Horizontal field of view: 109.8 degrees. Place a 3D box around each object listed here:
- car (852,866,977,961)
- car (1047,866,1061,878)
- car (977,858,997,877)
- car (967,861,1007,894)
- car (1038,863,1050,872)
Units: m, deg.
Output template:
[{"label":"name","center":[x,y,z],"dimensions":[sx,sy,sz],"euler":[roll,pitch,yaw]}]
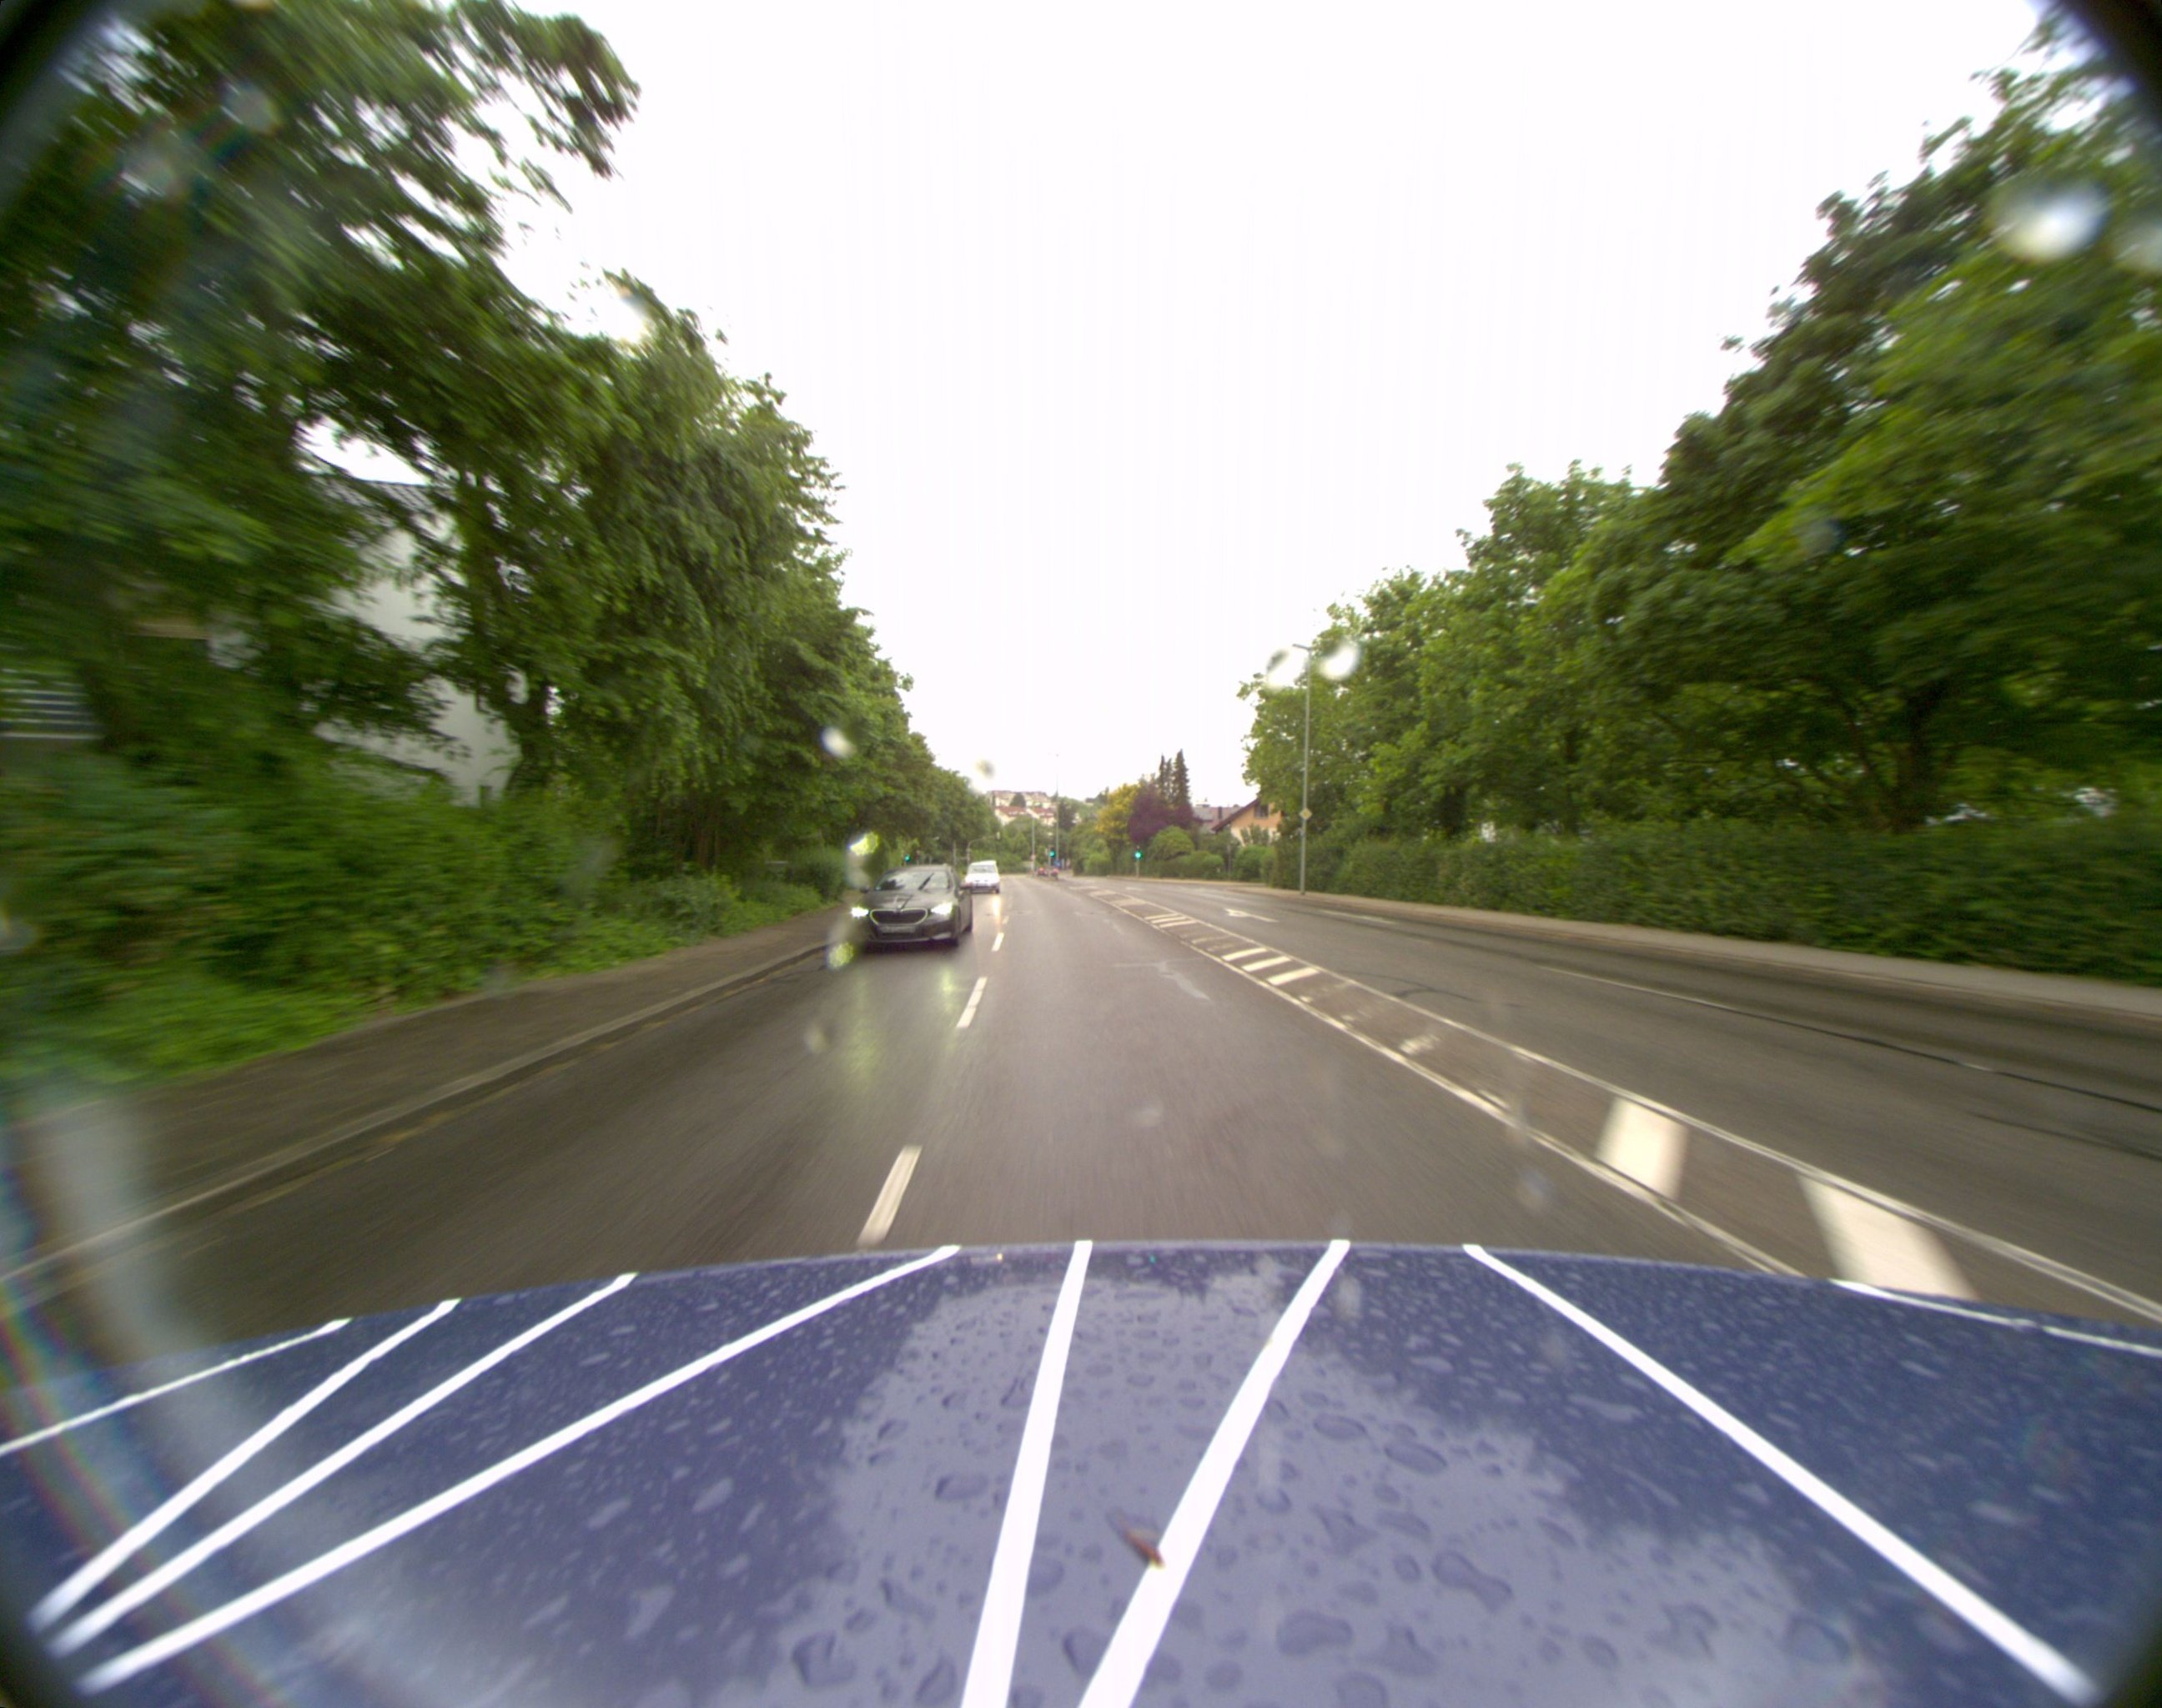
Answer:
[{"label":"car","center":[-3.094,1.043,14.934],"dimensions":[1.868,1.546,4.118],"euler":[1,0,-5]},{"label":"car","center":[-3.951,2.618,111.465],"dimensions":[1.801,1.593,3.730],"euler":[1,-1,-7]},{"label":"car","center":[-9.054,1.329,73.606],"dimensions":[1.815,1.797,4.118],"euler":[1,-1,-5]},{"label":"car","center":[-4.698,1.160,38.488],"dimensions":[1.815,1.546,4.118],"euler":[1,-1,-5]},{"label":"car","center":[-7.115,2.563,144.337],"dimensions":[2.031,1.553,3.875],"euler":[1,-1,-6]}]
